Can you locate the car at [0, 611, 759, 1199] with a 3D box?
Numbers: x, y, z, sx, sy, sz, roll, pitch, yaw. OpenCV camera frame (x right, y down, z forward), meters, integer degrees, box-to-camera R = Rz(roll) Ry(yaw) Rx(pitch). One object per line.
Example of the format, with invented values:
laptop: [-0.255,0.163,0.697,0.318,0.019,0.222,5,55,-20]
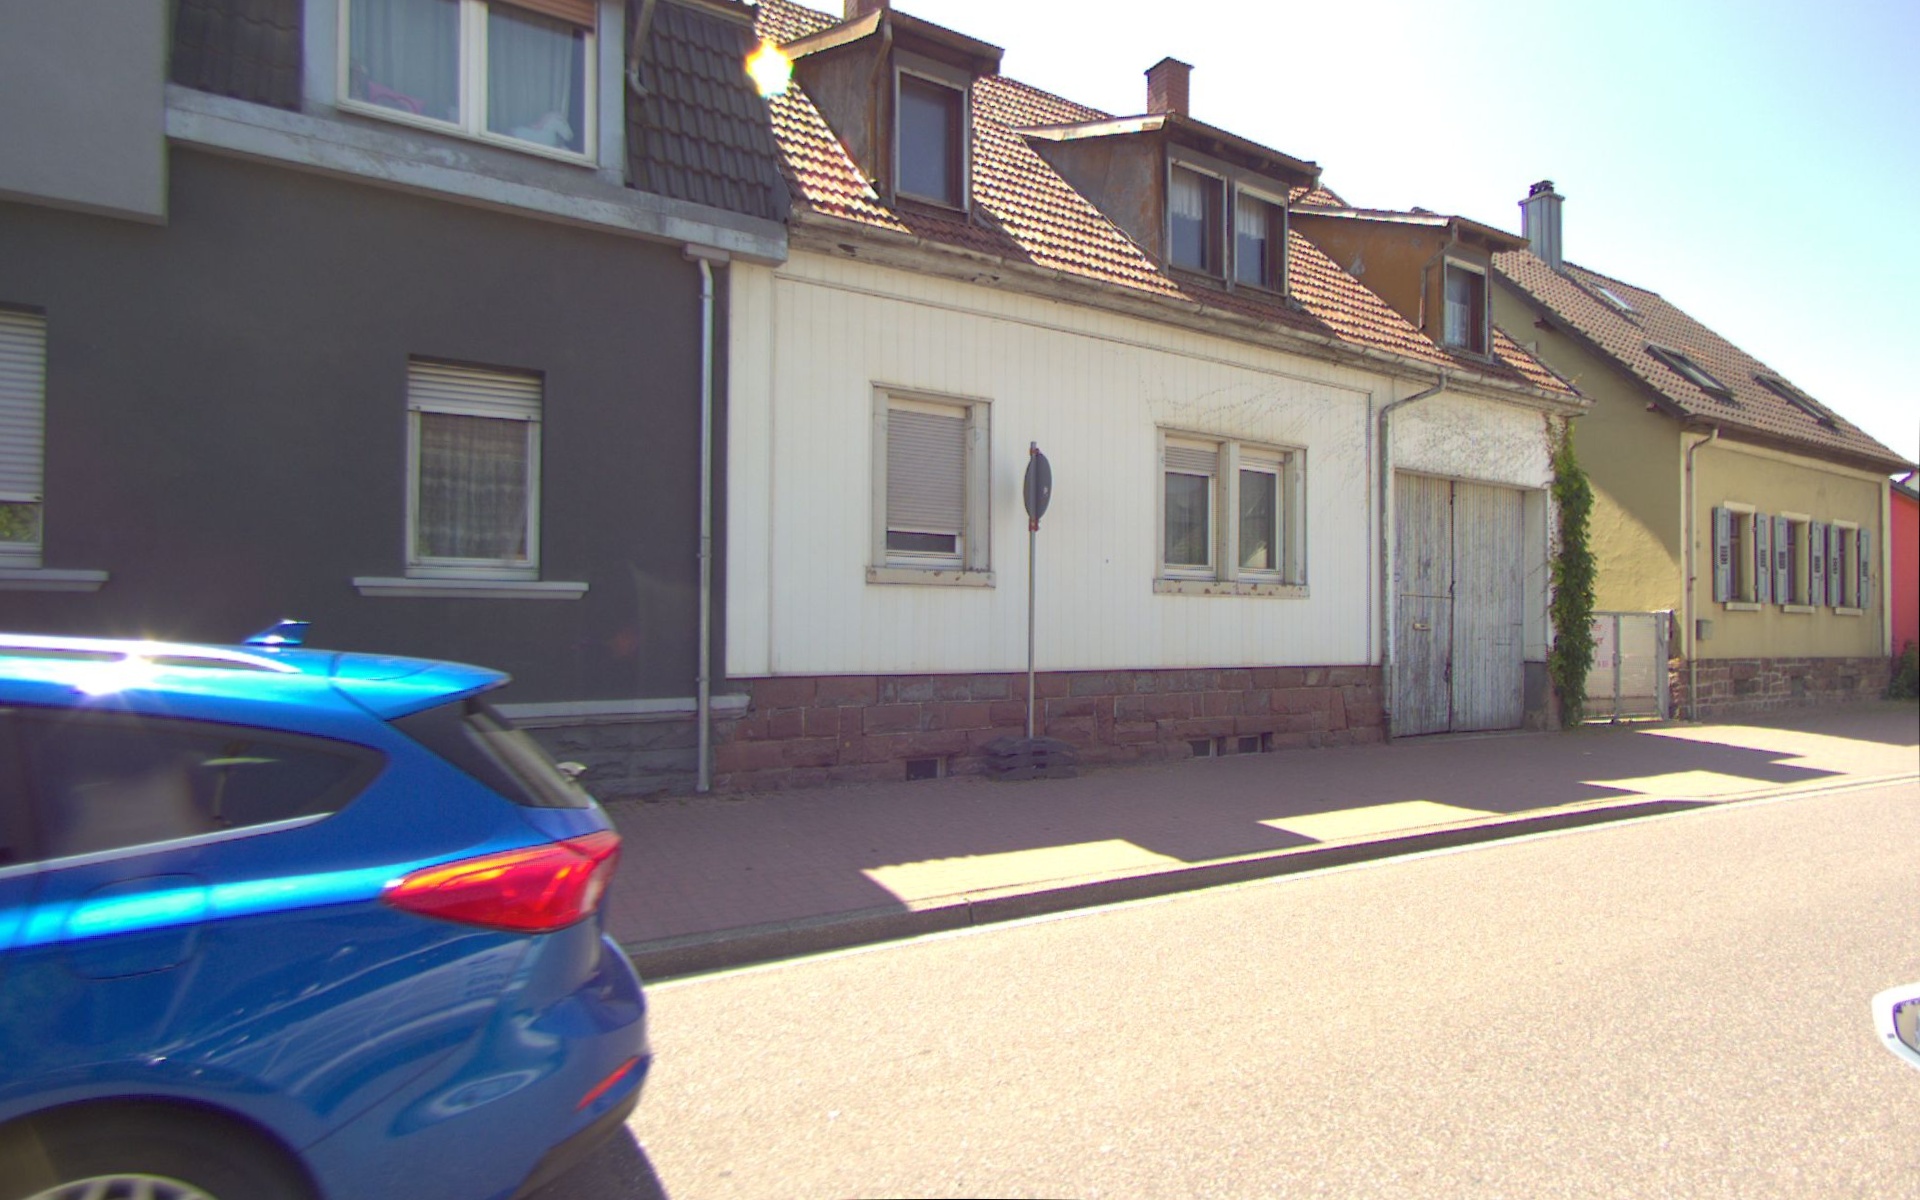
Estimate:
car: [-2.719,0.760,1.807,4.348,1.473,1.639,2,-3,-29]
